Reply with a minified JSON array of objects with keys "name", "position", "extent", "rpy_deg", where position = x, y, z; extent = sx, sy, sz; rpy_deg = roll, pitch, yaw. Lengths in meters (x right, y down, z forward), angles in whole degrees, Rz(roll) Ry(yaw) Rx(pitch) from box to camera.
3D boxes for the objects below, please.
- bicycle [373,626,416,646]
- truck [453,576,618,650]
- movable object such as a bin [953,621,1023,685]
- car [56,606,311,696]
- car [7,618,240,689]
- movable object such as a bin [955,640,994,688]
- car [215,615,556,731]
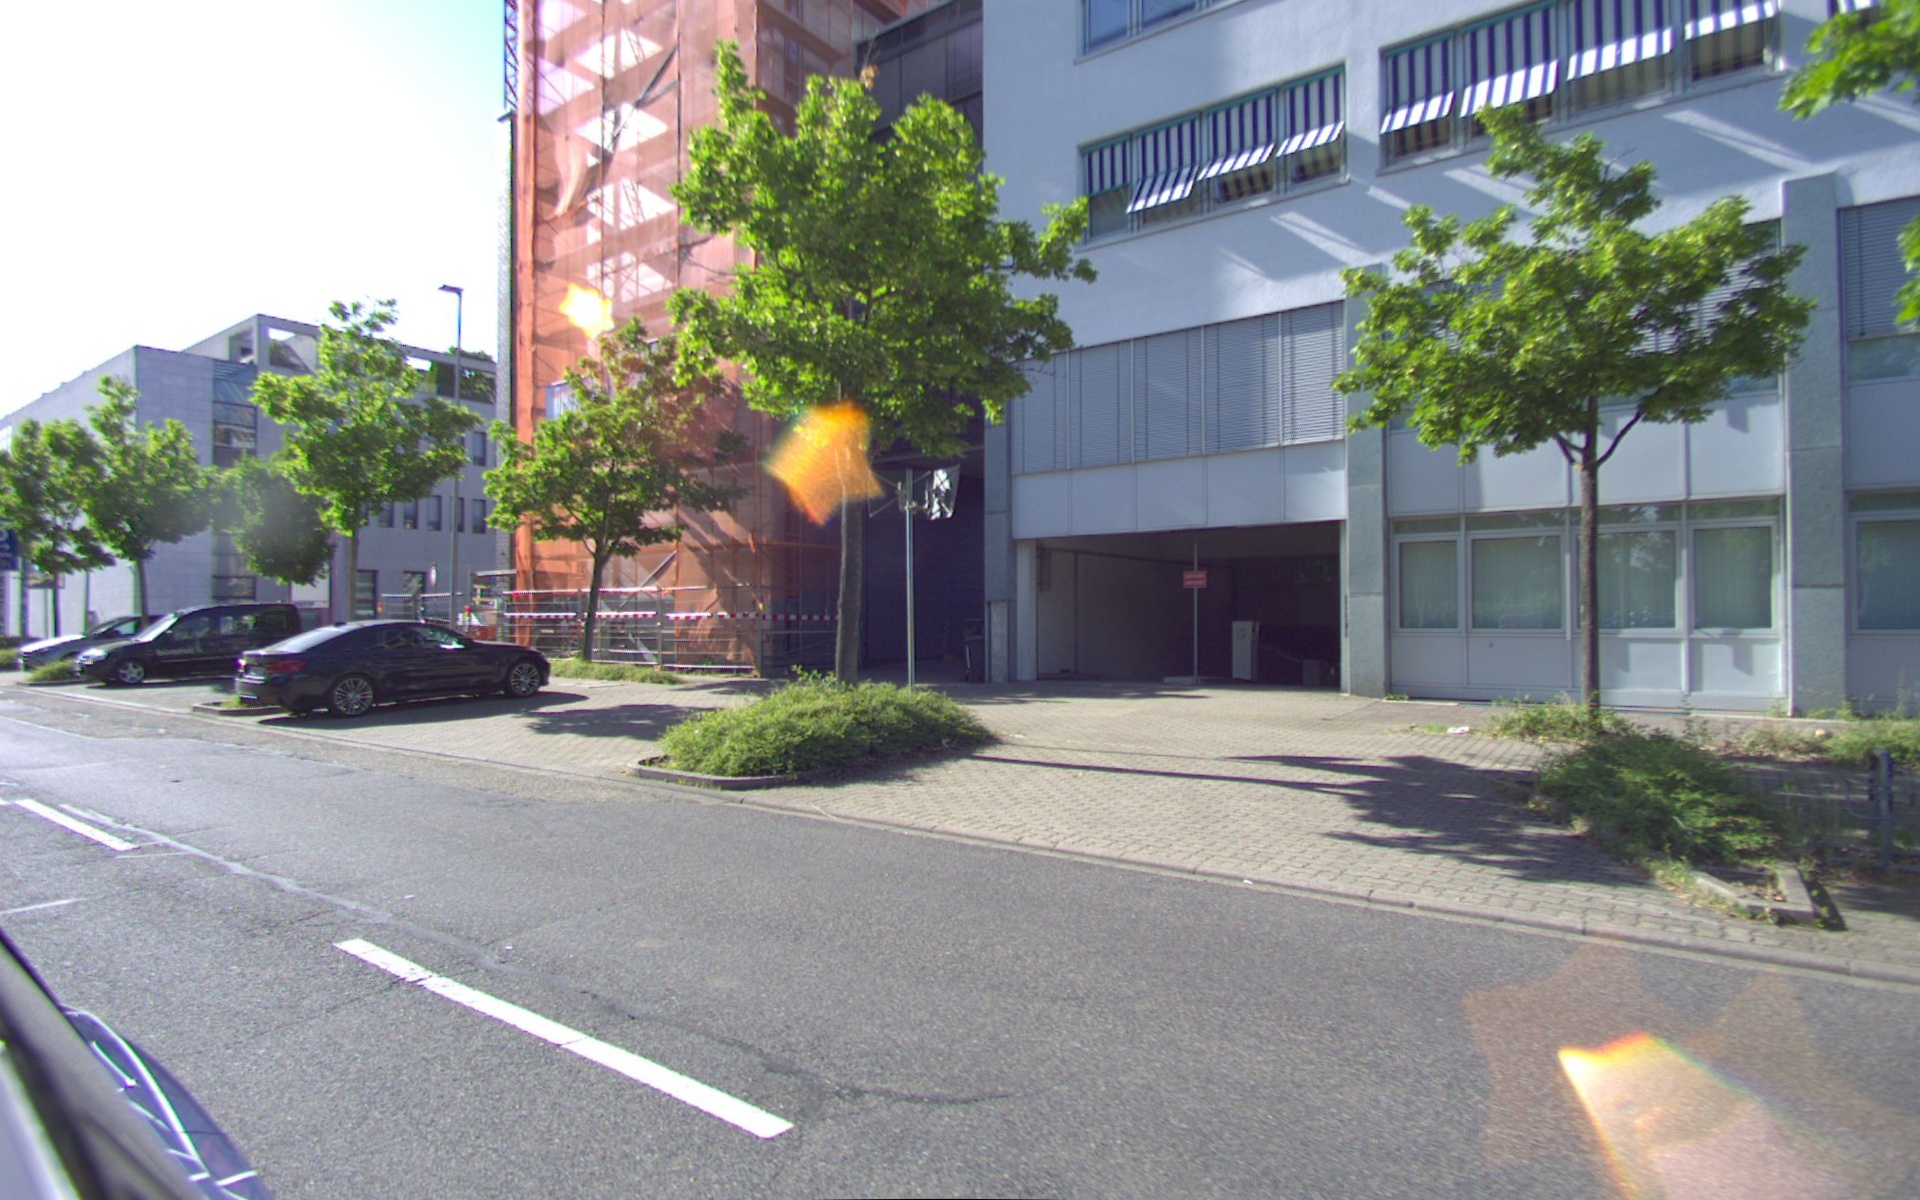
[{"name":"bicycle","position":[-34.832,2.198,62.410],"extent":[0.715,1.219,2.238],"rpy_deg":[-1,-2,31]},{"name":"truck","position":[-17.008,0.591,40.889],"extent":[2.266,2.752,5.786],"rpy_deg":[-1,-2,38]},{"name":"movable object such as a bin","position":[0.597,1.107,21.299],"extent":[0.913,1.290,1.224],"rpy_deg":[-1,-2,39]},{"name":"car","position":[-17.828,1.094,23.428],"extent":[1.844,1.758,4.344],"rpy_deg":[-1,1,37]},{"name":"car","position":[-21.419,1.296,26.073],"extent":[1.691,1.525,4.344],"rpy_deg":[-1,1,37]},{"name":"movable object such as a bin","position":[0.290,1.268,20.296],"extent":[0.610,0.934,0.482],"rpy_deg":[-1,-2,39]},{"name":"car","position":[-9.017,1.046,16.268],"extent":[1.971,1.442,4.351],"rpy_deg":[-1,1,32]}]
